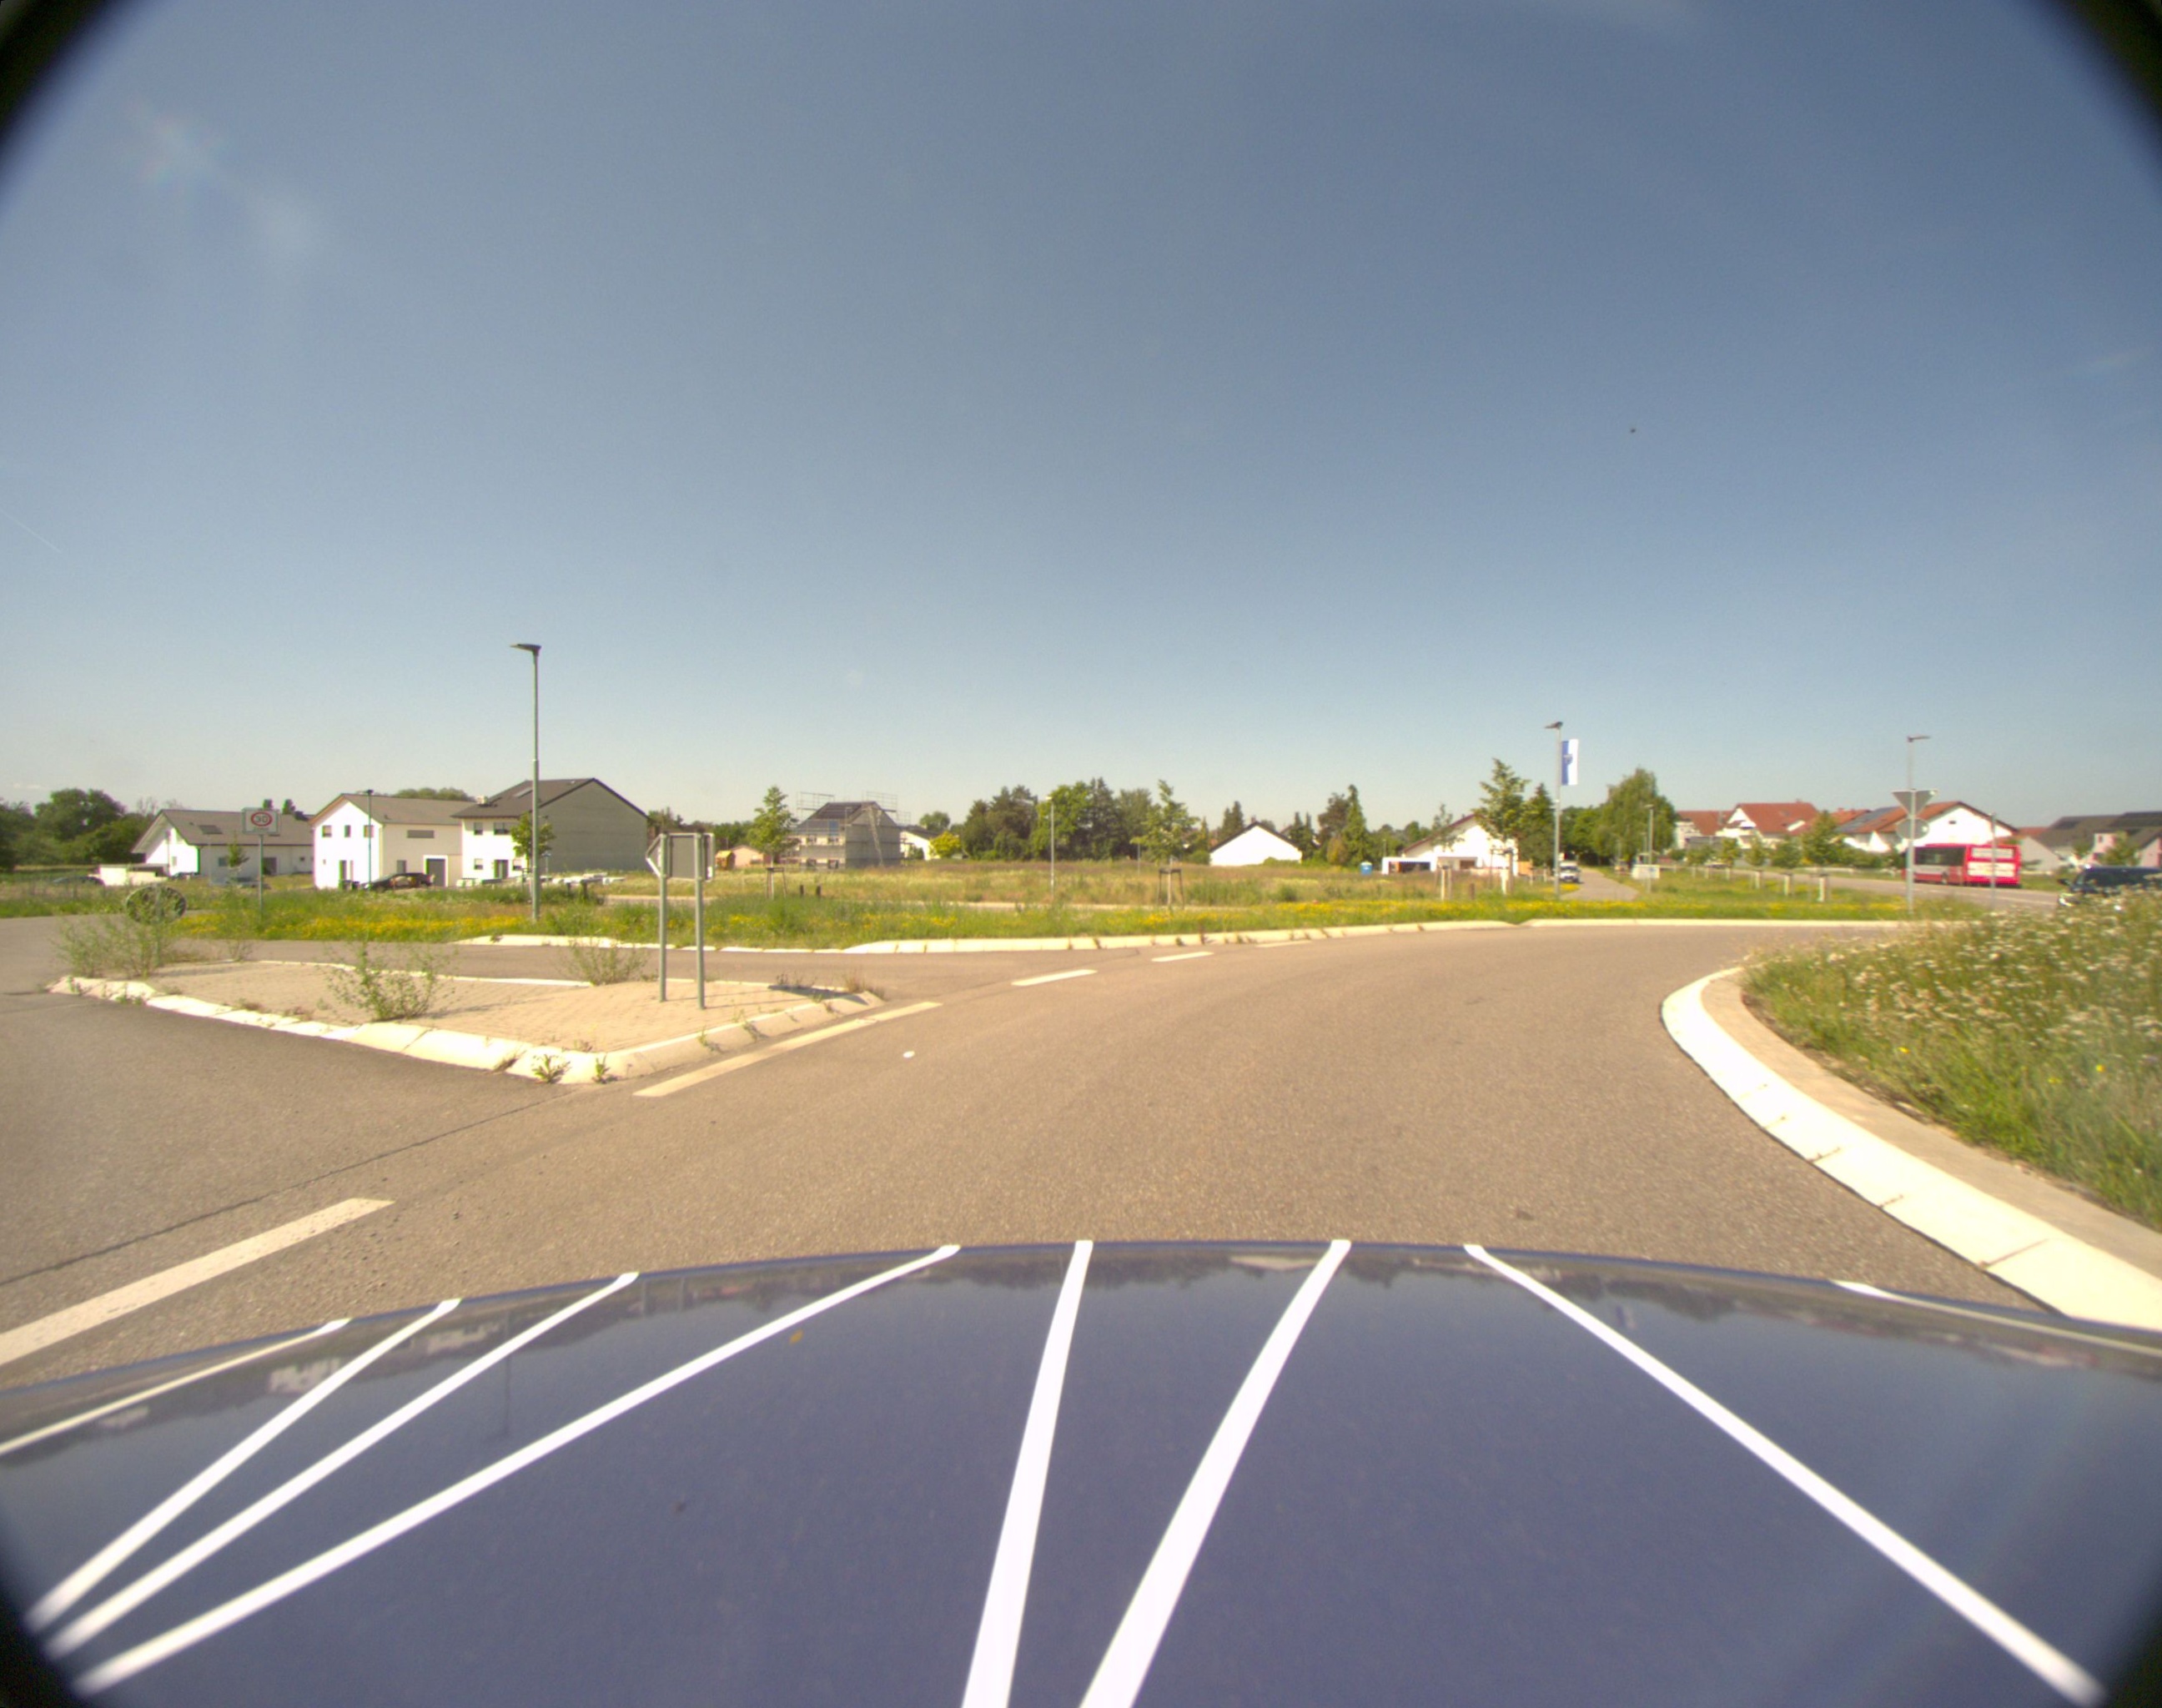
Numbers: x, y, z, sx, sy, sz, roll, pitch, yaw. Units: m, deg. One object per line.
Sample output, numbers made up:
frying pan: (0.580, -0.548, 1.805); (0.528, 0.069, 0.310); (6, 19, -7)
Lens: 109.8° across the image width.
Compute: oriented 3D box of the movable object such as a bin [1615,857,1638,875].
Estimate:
movable object such as a bin: (75.435, 1.705, 105.097); (2.317, 2.448, 6.961); (-1, -2, 33)

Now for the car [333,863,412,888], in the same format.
car: (-55.149, 1.662, 59.227); (1.995, 1.783, 4.006); (0, 0, 23)

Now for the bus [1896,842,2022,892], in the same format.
bus: (65.266, 0.884, 56.905); (2.794, 3.268, 12.255); (4, 2, 34)

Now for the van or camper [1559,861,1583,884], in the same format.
van or camper: (57.136, 2.106, 88.739); (2.173, 2.585, 6.043); (0, 0, 31)

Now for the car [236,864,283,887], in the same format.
car: (-61.680, 1.624, 57.073); (3.477, 1.652, 1.685); (-1, 0, 31)
